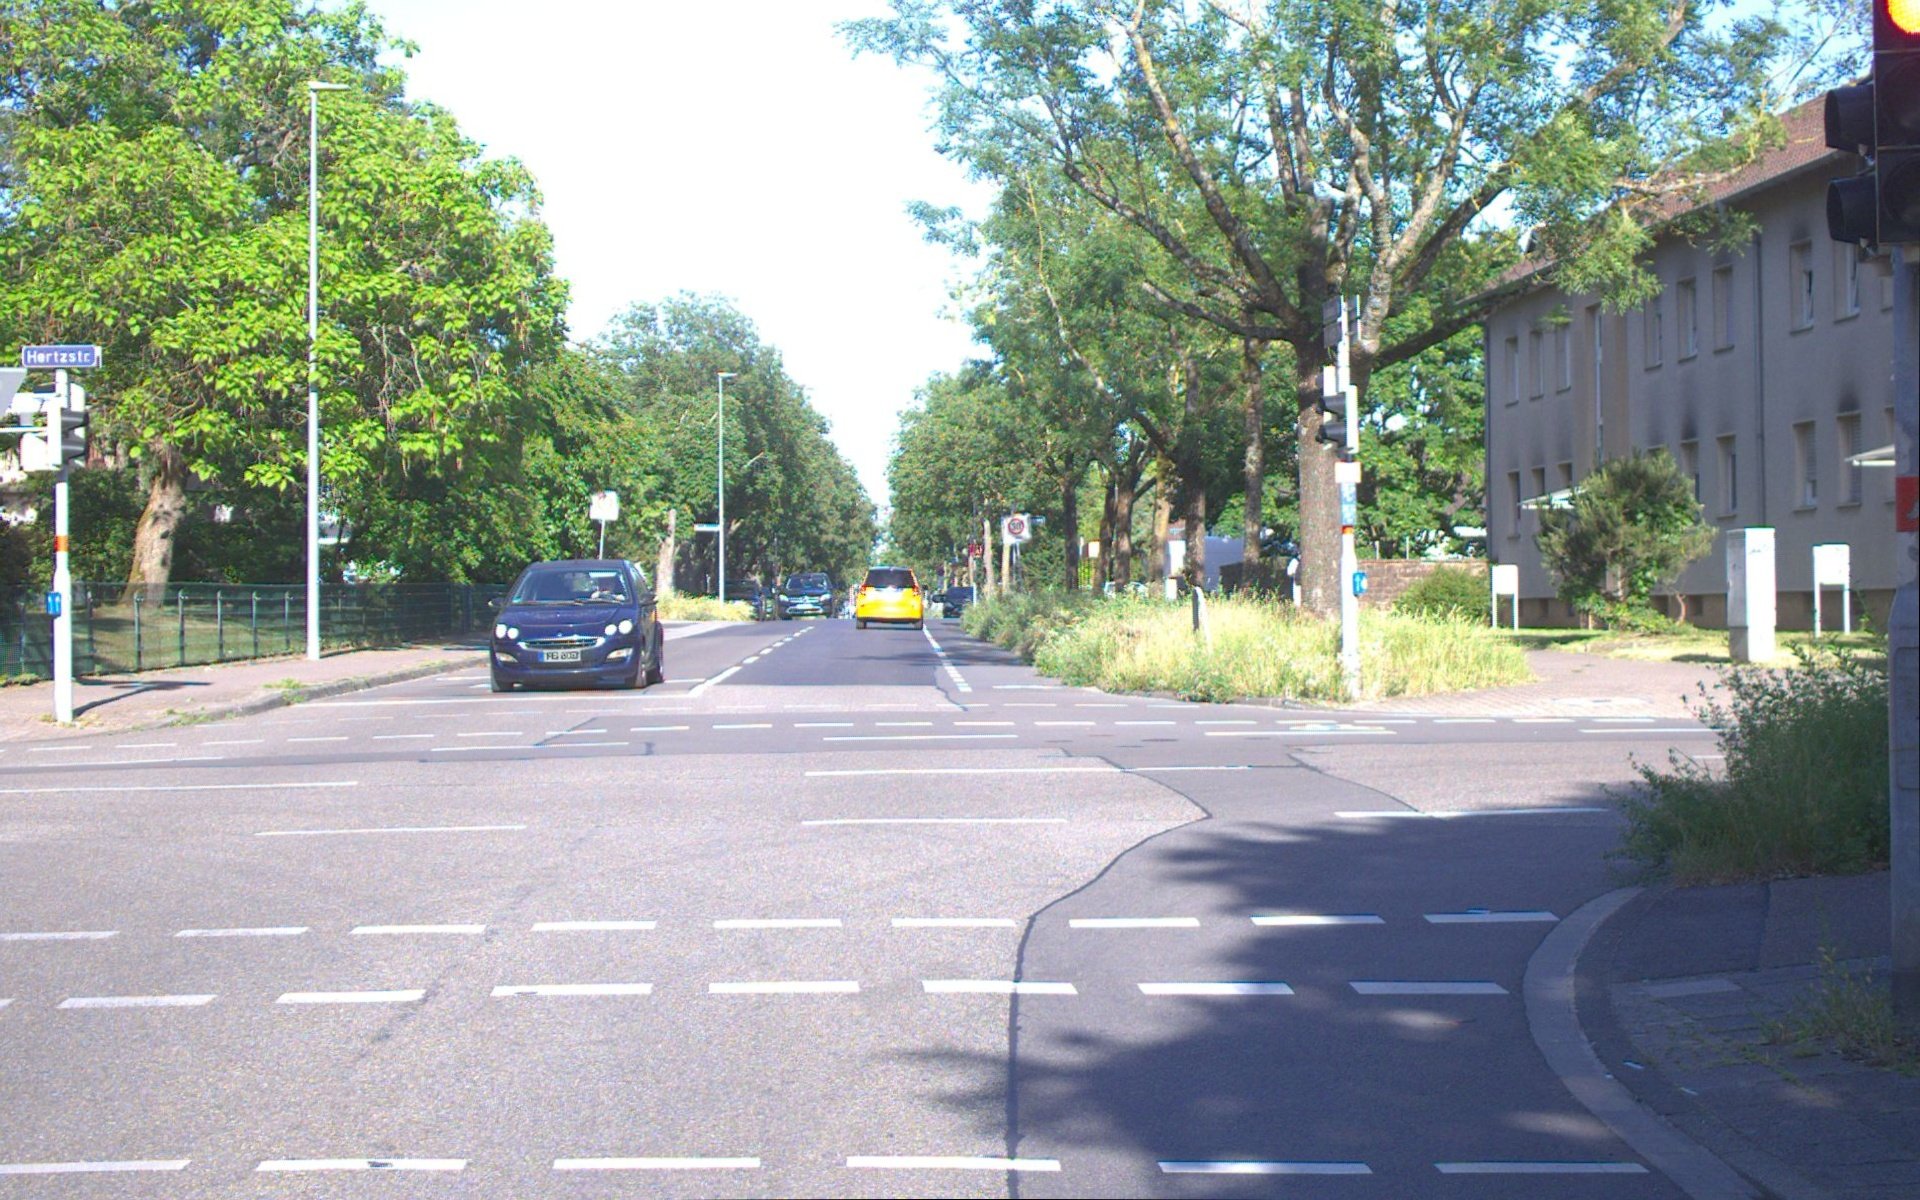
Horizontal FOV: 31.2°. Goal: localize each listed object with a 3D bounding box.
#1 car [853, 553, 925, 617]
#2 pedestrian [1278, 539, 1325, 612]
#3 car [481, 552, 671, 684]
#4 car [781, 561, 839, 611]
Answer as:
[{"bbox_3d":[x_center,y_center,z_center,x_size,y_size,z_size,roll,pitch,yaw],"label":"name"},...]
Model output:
[{"bbox_3d":[-1.787,-0.389,87.430,1.751,1.577,4.000,1,0,0],"label":"car"},{"bbox_3d":[7.114,-0.514,71.658,0.842,1.488,0.924,2,1,-1],"label":"pedestrian"},{"bbox_3d":[-4.264,0.170,38.628,1.711,1.381,3.471,0,1,0],"label":"car"},{"bbox_3d":[-4.996,-0.480,114.513,1.758,1.619,3.268,0,1,0],"label":"car"}]
